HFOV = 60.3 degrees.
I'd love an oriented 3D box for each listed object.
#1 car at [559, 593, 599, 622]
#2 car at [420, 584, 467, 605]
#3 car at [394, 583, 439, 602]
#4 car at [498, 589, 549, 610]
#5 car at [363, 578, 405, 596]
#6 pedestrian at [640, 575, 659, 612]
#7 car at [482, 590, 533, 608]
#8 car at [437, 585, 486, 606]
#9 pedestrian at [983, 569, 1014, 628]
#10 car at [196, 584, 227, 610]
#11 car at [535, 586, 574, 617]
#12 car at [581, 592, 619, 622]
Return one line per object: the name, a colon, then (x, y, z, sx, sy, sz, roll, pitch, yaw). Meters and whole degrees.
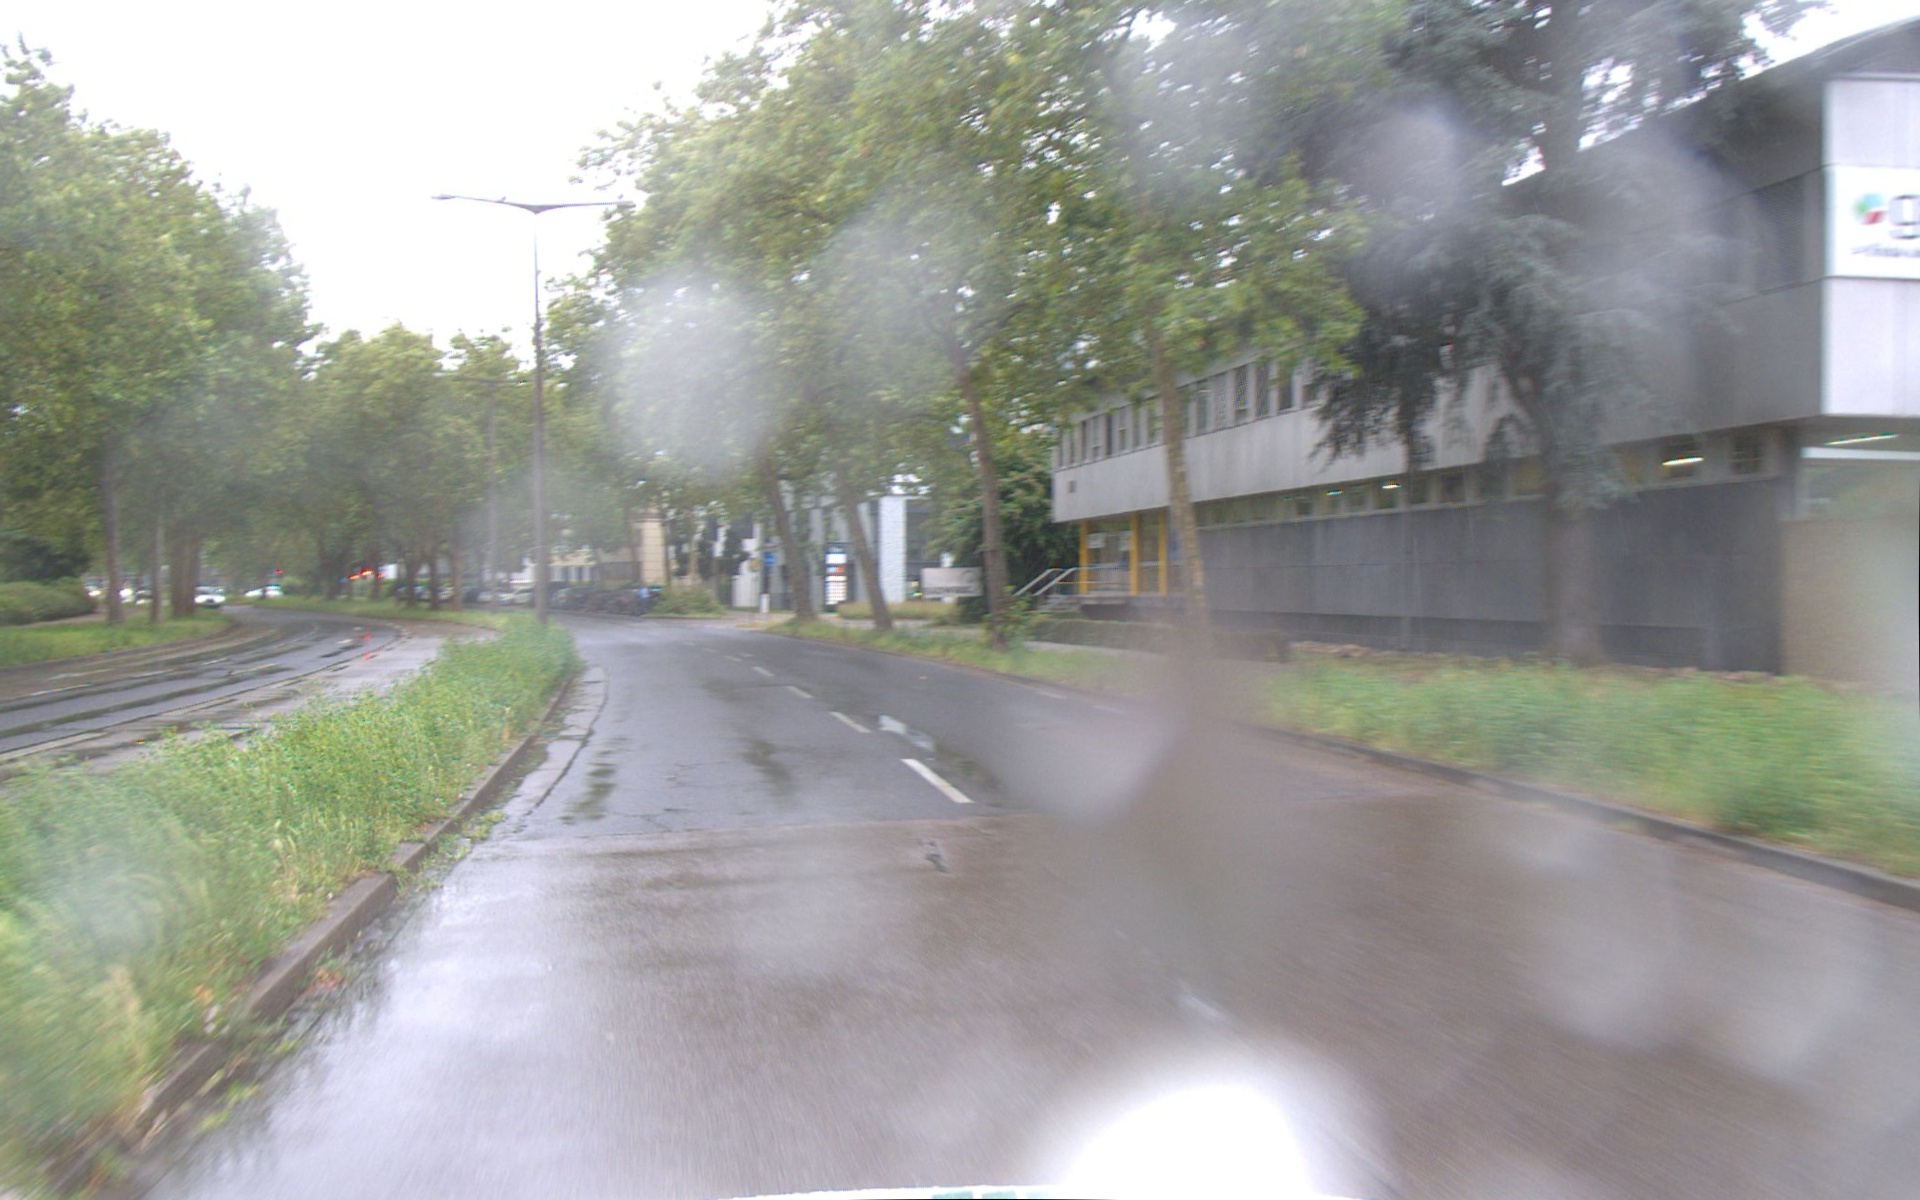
car: (-25.755, 0.495, 111.680, 1.967, 1.814, 3.972, 0, 2, -23)
car: (-49.913, -0.539, 159.801, 3.954, 1.851, 1.976, -1, 2, -35)
car: (-54.949, -0.780, 167.236, 3.954, 1.851, 1.976, -1, 2, -35)
car: (-36.836, -0.075, 139.648, 3.828, 1.679, 1.869, -1, 2, -31)
car: (-62.749, -1.389, 180.313, 3.954, 1.851, 1.976, -1, 2, -35)
pedestrian: (-17.296, -0.366, 92.044, 0.692, 1.984, 0.857, 1, 1, 23)
car: (-39.065, -0.098, 142.841, 3.837, 1.519, 1.864, -1, 2, -36)
car: (-46.765, -0.399, 155.188, 3.960, 1.863, 1.973, -1, 2, -39)
pedestrian: (1.109, -0.051, 48.207, 0.661, 1.697, 0.820, 0, 1, -19)
car: (-63.111, -0.284, 139.438, 1.960, 2.048, 3.960, -1, 2, -30)
car: (-30.076, 0.075, 122.572, 2.095, 2.124, 3.968, -1, 2, -25)
car: (-22.891, 0.427, 105.169, 1.963, 1.814, 3.980, 0, 2, -18)
